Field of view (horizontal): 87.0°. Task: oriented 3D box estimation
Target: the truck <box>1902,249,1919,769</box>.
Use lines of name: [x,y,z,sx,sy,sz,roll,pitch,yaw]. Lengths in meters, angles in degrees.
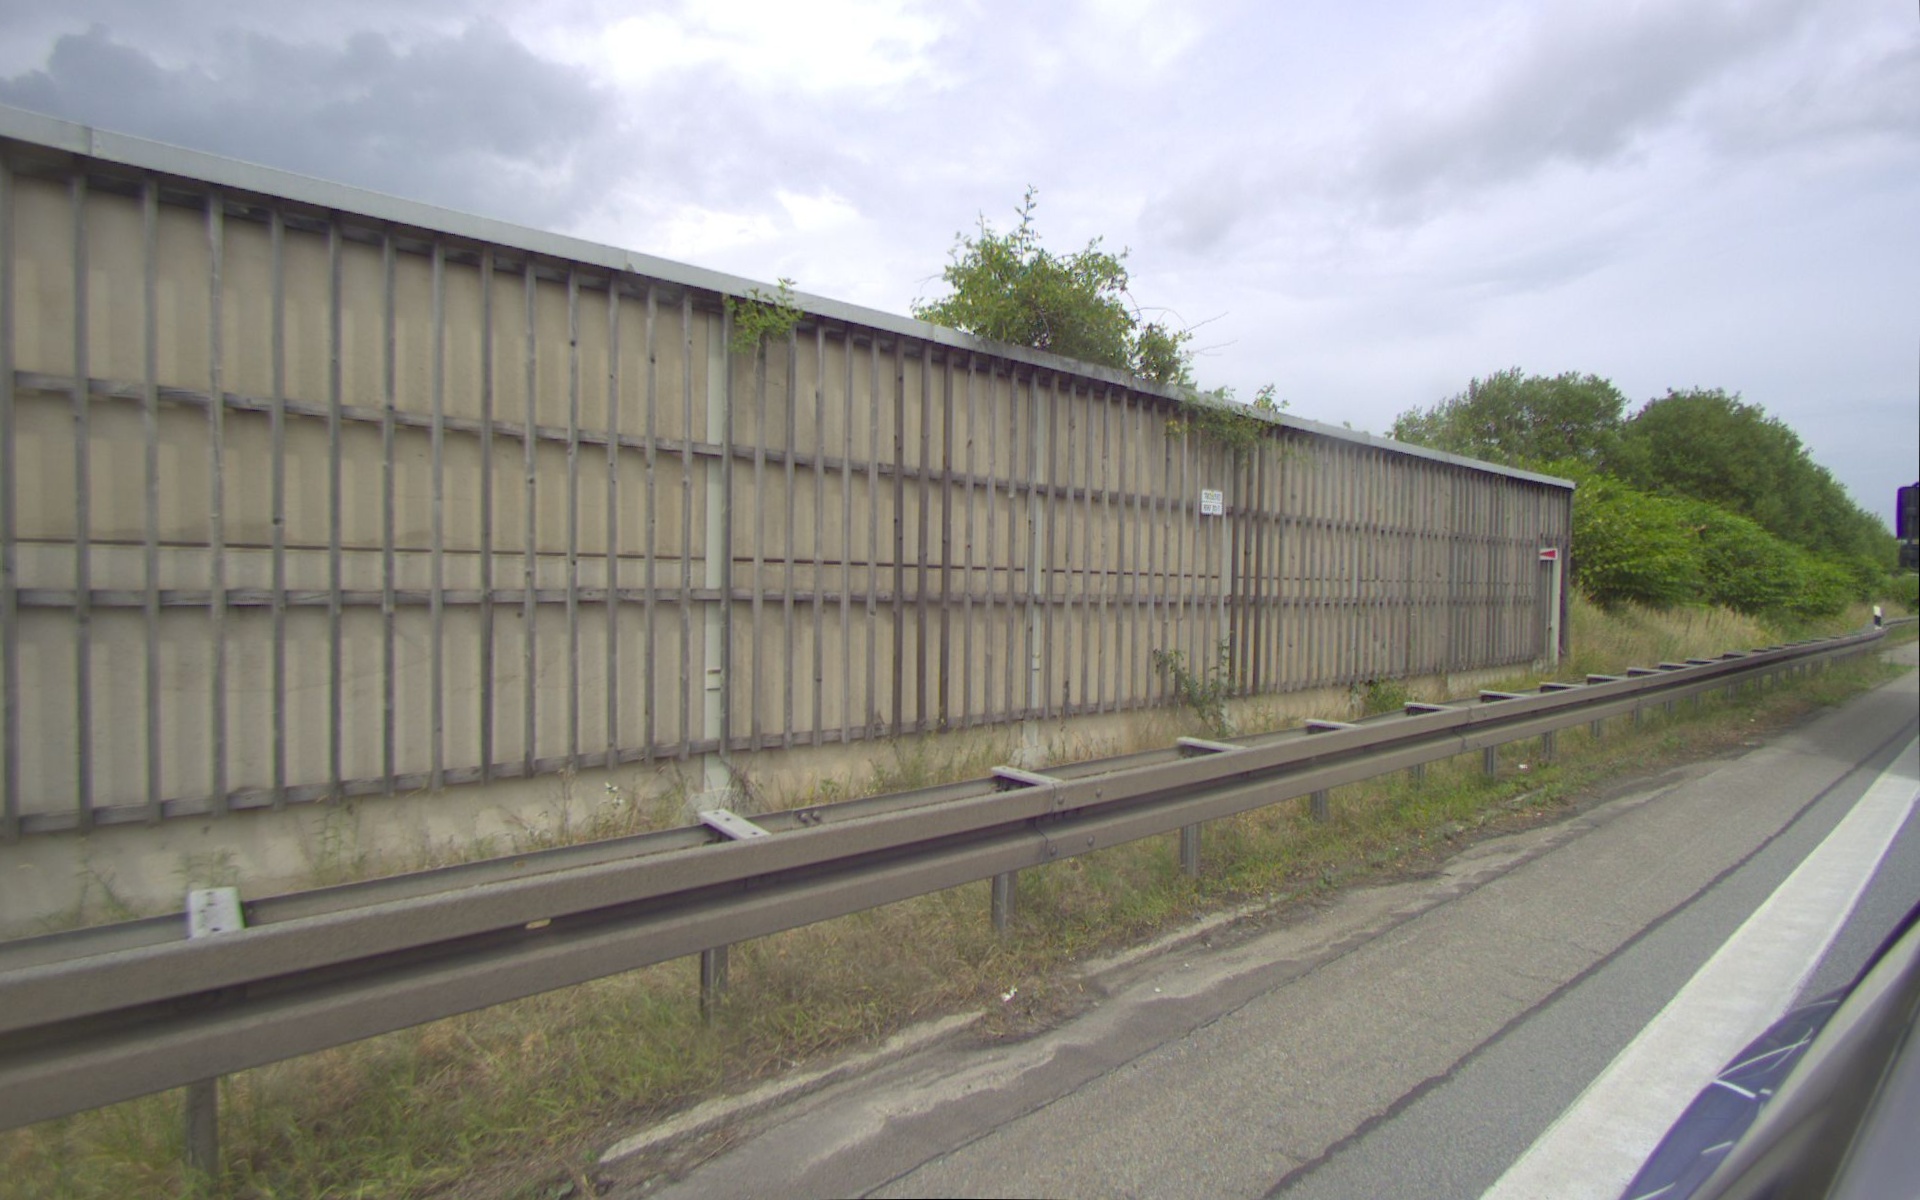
truck: [11.951,-0.715,10.390,3.018,4.004,10.173,1,1,45]
